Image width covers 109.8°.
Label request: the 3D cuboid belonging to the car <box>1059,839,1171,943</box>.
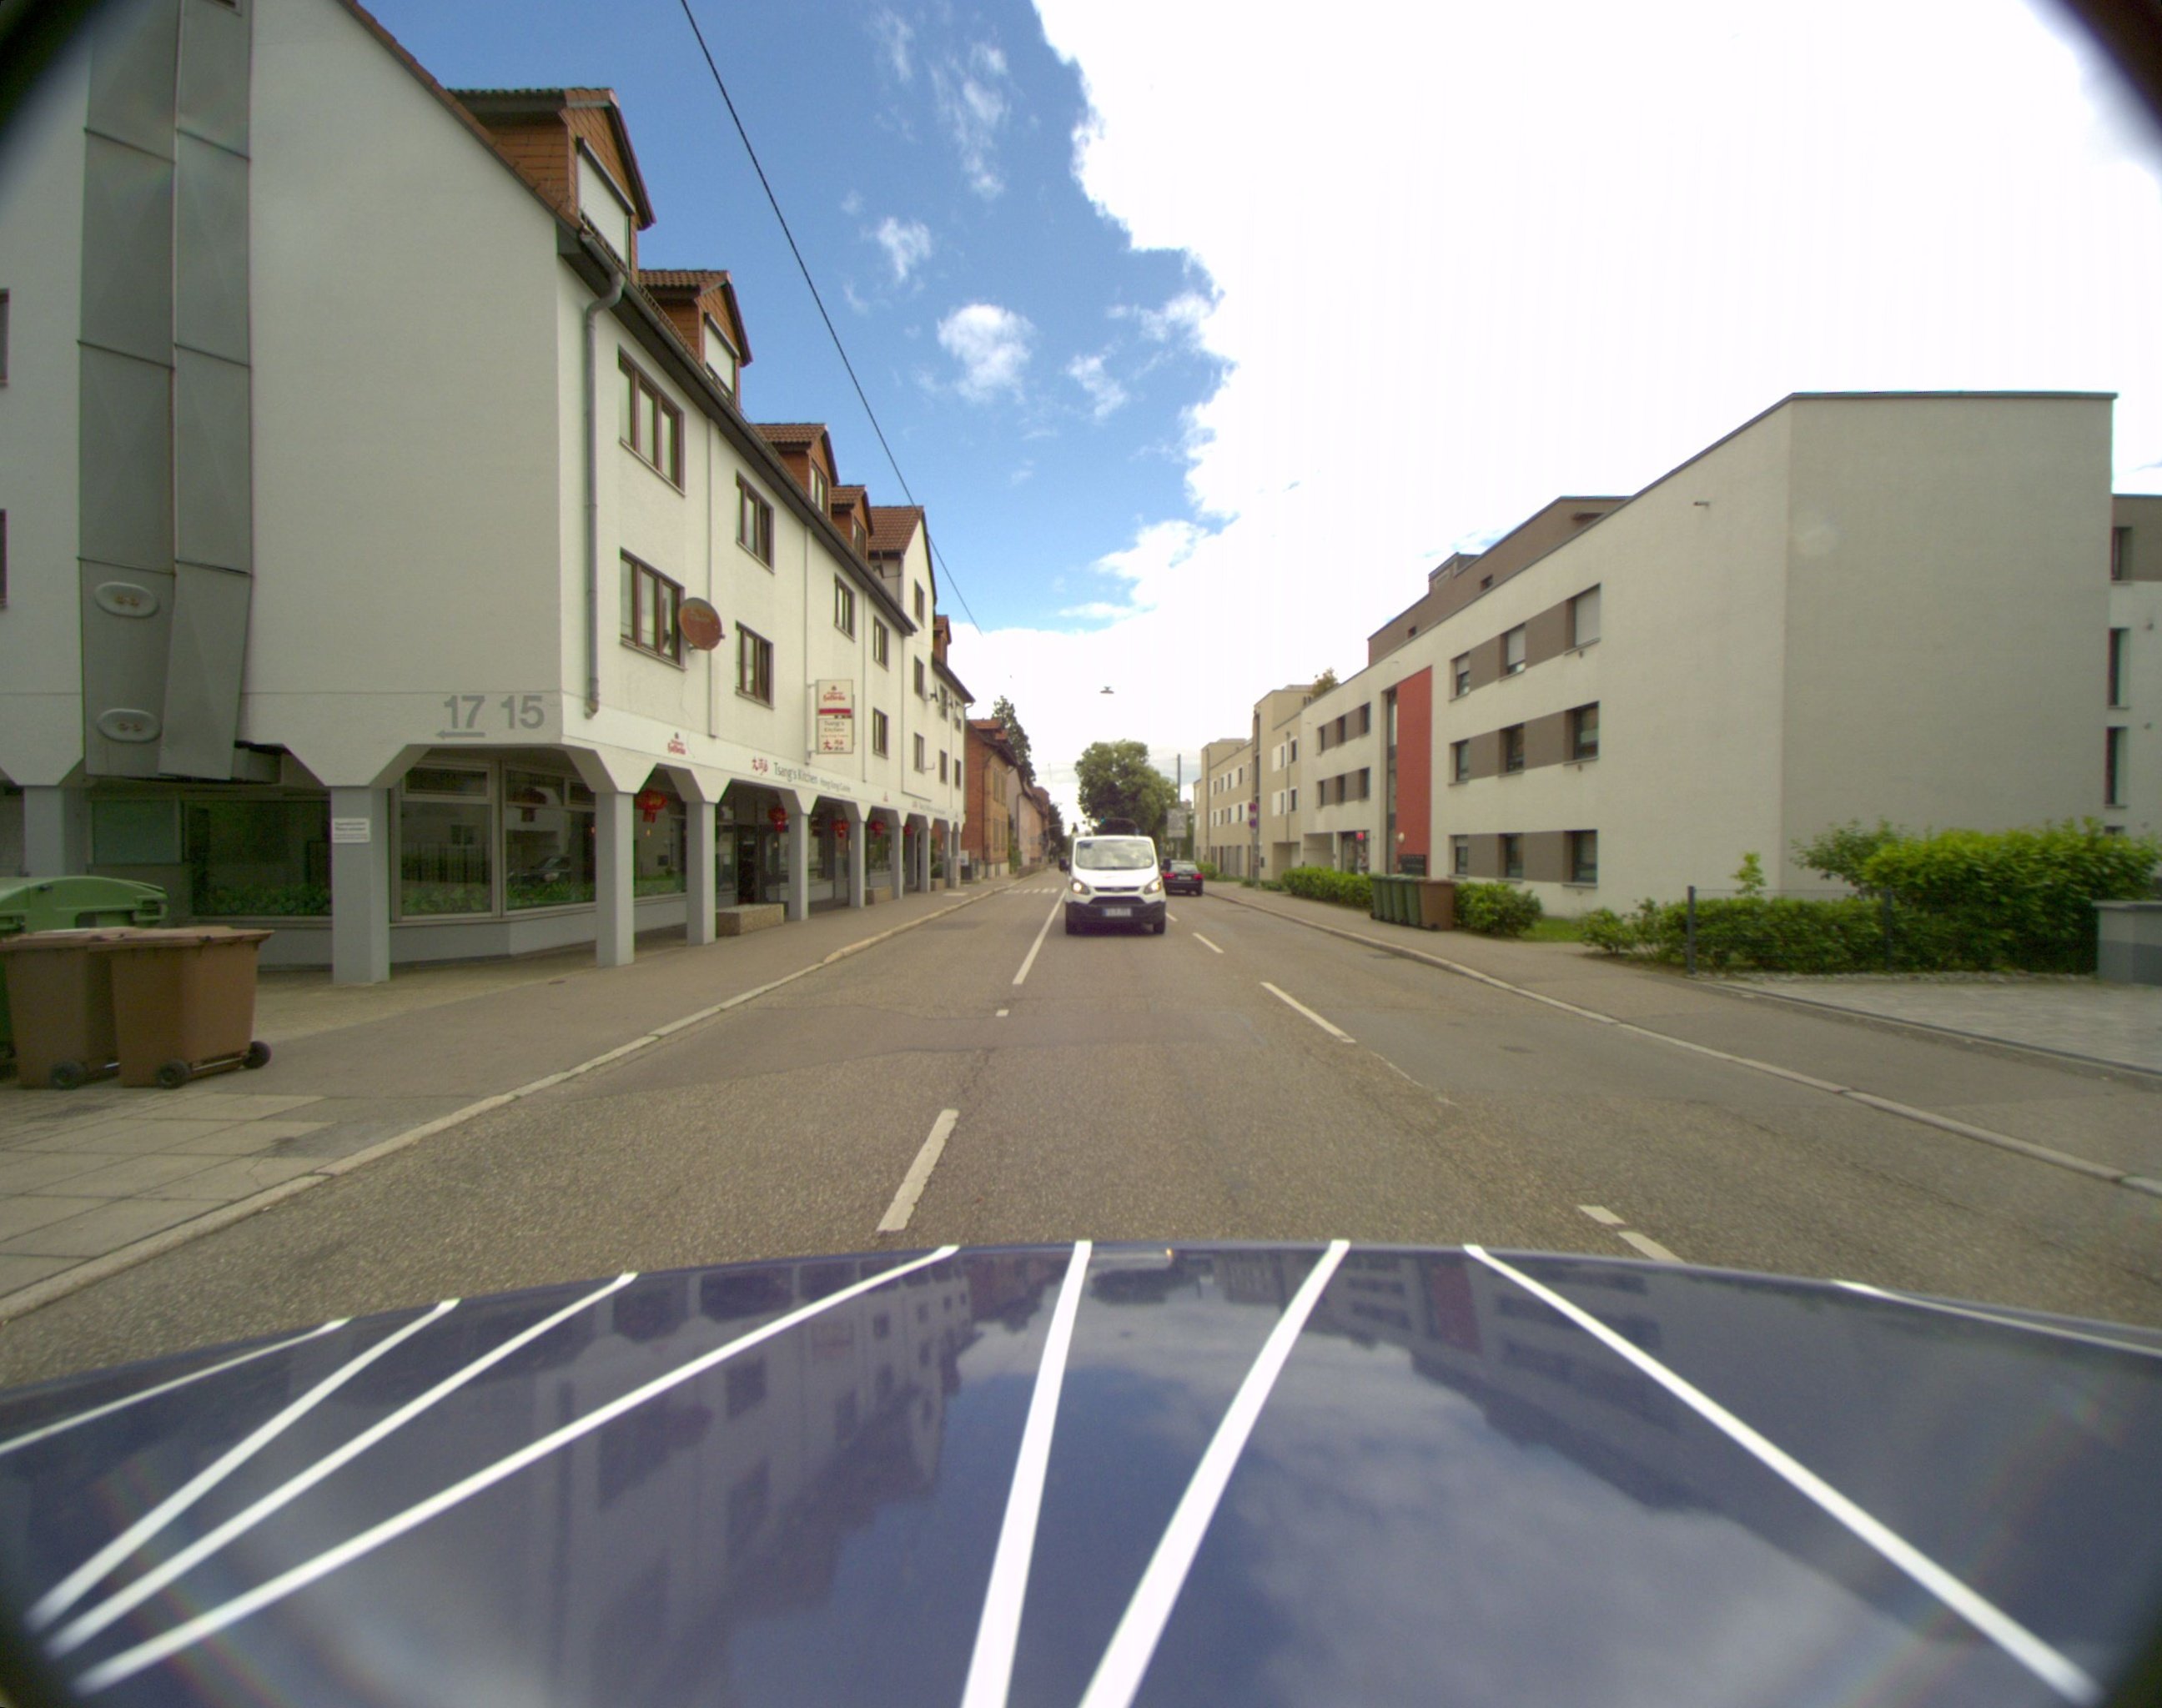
[{"bbox_3d":[0.623,0.674,16.624,2.062,1.945,5.060,0,0,0],"label":"car"}]

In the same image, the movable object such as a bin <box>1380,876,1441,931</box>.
[{"bbox_3d":[7.245,1.078,16.730,0.959,1.144,0.840,0,1,-4],"label":"movable object such as a bin"}]

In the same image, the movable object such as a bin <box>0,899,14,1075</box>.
[{"bbox_3d":[-9.334,1.071,5.584,1.212,1.409,1.259,0,1,4],"label":"movable object such as a bin"}]

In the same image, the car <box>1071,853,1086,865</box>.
[{"bbox_3d":[-0.316,0.601,92.717,1.755,1.485,3.985,0,0,0],"label":"car"}]

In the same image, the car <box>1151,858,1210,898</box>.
[{"bbox_3d":[4.132,0.954,32.064,1.883,1.442,4.213,2,0,0],"label":"car"}]

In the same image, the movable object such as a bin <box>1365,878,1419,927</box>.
[{"bbox_3d":[7.185,1.102,17.588,0.897,1.083,0.792,0,1,-4],"label":"movable object such as a bin"}]

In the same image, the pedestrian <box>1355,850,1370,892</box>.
[{"bbox_3d":[11.148,0.675,30.107,0.519,1.633,0.641,0,1,25],"label":"pedestrian"}]

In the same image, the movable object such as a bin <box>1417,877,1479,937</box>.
[{"bbox_3d":[7.310,1.043,15.157,0.943,1.144,0.612,0,1,-4],"label":"movable object such as a bin"}]

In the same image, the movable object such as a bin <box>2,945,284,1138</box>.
[{"bbox_3d":[-6.286,1.208,5.163,0.685,1.061,0.972,0,1,4],"label":"movable object such as a bin"}]

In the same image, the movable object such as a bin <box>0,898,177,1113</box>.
[{"bbox_3d":[-7.967,1.066,5.554,1.212,1.409,1.259,0,1,4],"label":"movable object such as a bin"}]

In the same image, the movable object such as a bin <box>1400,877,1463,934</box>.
[{"bbox_3d":[7.297,1.062,15.864,0.951,1.144,0.749,0,1,-4],"label":"movable object such as a bin"}]

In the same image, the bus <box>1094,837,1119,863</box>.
[{"bbox_3d":[3.358,-0.469,101.973,2.950,3.255,12.008,1,0,1],"label":"bus"}]

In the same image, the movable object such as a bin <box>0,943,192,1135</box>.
[{"bbox_3d":[-7.017,1.207,5.197,0.699,1.073,0.972,0,1,4],"label":"movable object such as a bin"}]
